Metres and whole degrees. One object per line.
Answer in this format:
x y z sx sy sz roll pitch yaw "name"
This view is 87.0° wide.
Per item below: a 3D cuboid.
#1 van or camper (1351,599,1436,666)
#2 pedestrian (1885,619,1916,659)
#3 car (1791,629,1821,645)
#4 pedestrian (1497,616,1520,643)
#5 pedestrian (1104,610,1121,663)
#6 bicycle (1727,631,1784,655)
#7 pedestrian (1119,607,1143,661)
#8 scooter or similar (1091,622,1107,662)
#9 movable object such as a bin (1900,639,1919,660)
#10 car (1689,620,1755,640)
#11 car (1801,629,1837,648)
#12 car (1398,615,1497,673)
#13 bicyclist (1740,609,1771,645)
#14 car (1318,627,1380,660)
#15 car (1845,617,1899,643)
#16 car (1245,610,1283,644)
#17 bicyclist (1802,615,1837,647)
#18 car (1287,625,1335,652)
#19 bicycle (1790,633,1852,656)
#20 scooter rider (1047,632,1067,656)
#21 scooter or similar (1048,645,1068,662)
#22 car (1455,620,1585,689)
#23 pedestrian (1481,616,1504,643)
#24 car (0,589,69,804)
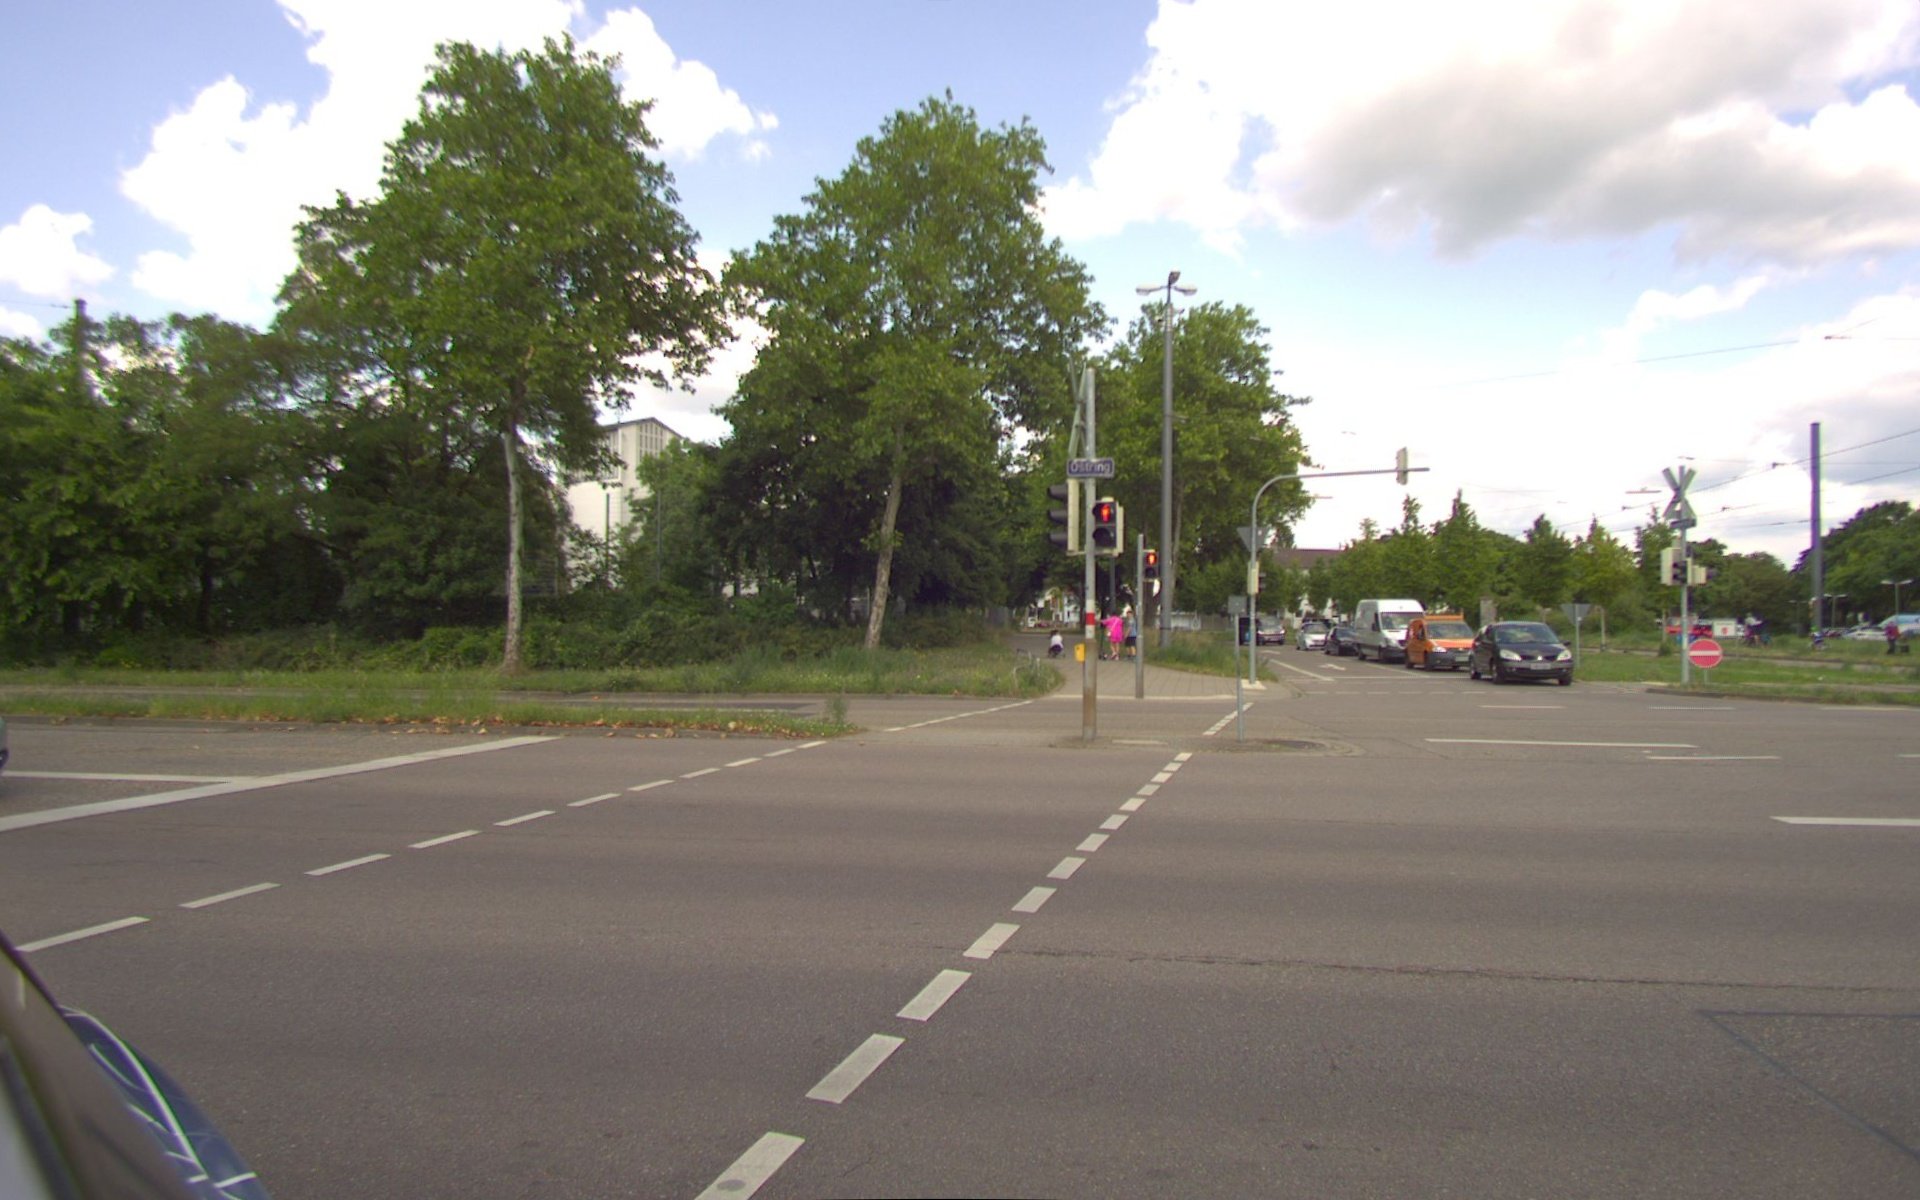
17.562 1.304 41.312 1.961 2.543 6.015 0 -2 11 "van or camper"
39.418 1.638 42.427 0.604 1.657 0.639 -2 -2 -6 "pedestrian"
90.341 3.930 108.102 1.995 1.652 4.340 -1 -2 34 "car"
41.216 2.189 76.060 1.091 2.029 1.176 0 -2 2 "pedestrian"
4.732 1.127 31.466 0.418 1.631 0.593 -1 -2 17 "pedestrian"
39.515 2.113 50.297 0.935 1.163 1.990 1 -2 -24 "bicycle"
5.246 1.039 30.974 0.627 1.631 0.607 -1 -2 17 "pedestrian"
4.368 1.310 31.754 0.319 1.241 0.771 -3 -2 19 "scooter or similar"
39.479 2.044 41.935 0.570 0.817 0.460 -2 -2 -6 "movable object such as a bin"
59.927 2.365 79.652 3.990 1.541 1.976 -1 -2 35 "car"
77.859 3.450 91.798 1.995 1.652 4.340 -1 -2 34 "car"
16.318 1.430 34.119 1.863 1.813 4.356 0 -1 10 "car"
39.510 1.346 50.280 0.946 1.735 0.839 1 -2 -24 "bicyclist"
18.841 2.073 49.198 1.790 1.442 4.458 0 -1 8 "car"
59.638 1.956 66.270 1.995 1.652 4.340 -1 -2 34 "car"
20.414 1.806 68.148 1.835 2.172 4.370 0 -1 9 "car"
40.204 1.454 47.363 0.947 1.500 0.838 0 -2 -17 "bicyclist"
19.804 2.165 57.299 1.791 1.442 4.370 0 -1 9 "car"
40.224 2.062 47.296 0.935 1.048 1.990 0 -1 -17 "bicycle"
3.076 1.382 31.957 0.605 0.734 0.857 -2 -2 6 "scooter rider"
3.087 1.690 31.949 0.604 0.515 0.856 -2 -2 6 "scooter or similar"
14.447 1.347 26.360 1.717 1.643 4.039 0 -1 10 "car"
40.044 2.188 76.112 1.092 2.029 1.176 0 -2 3 "pedestrian"
-9.687 0.759 7.733 4.450 1.664 1.926 0 0 9 "car"
